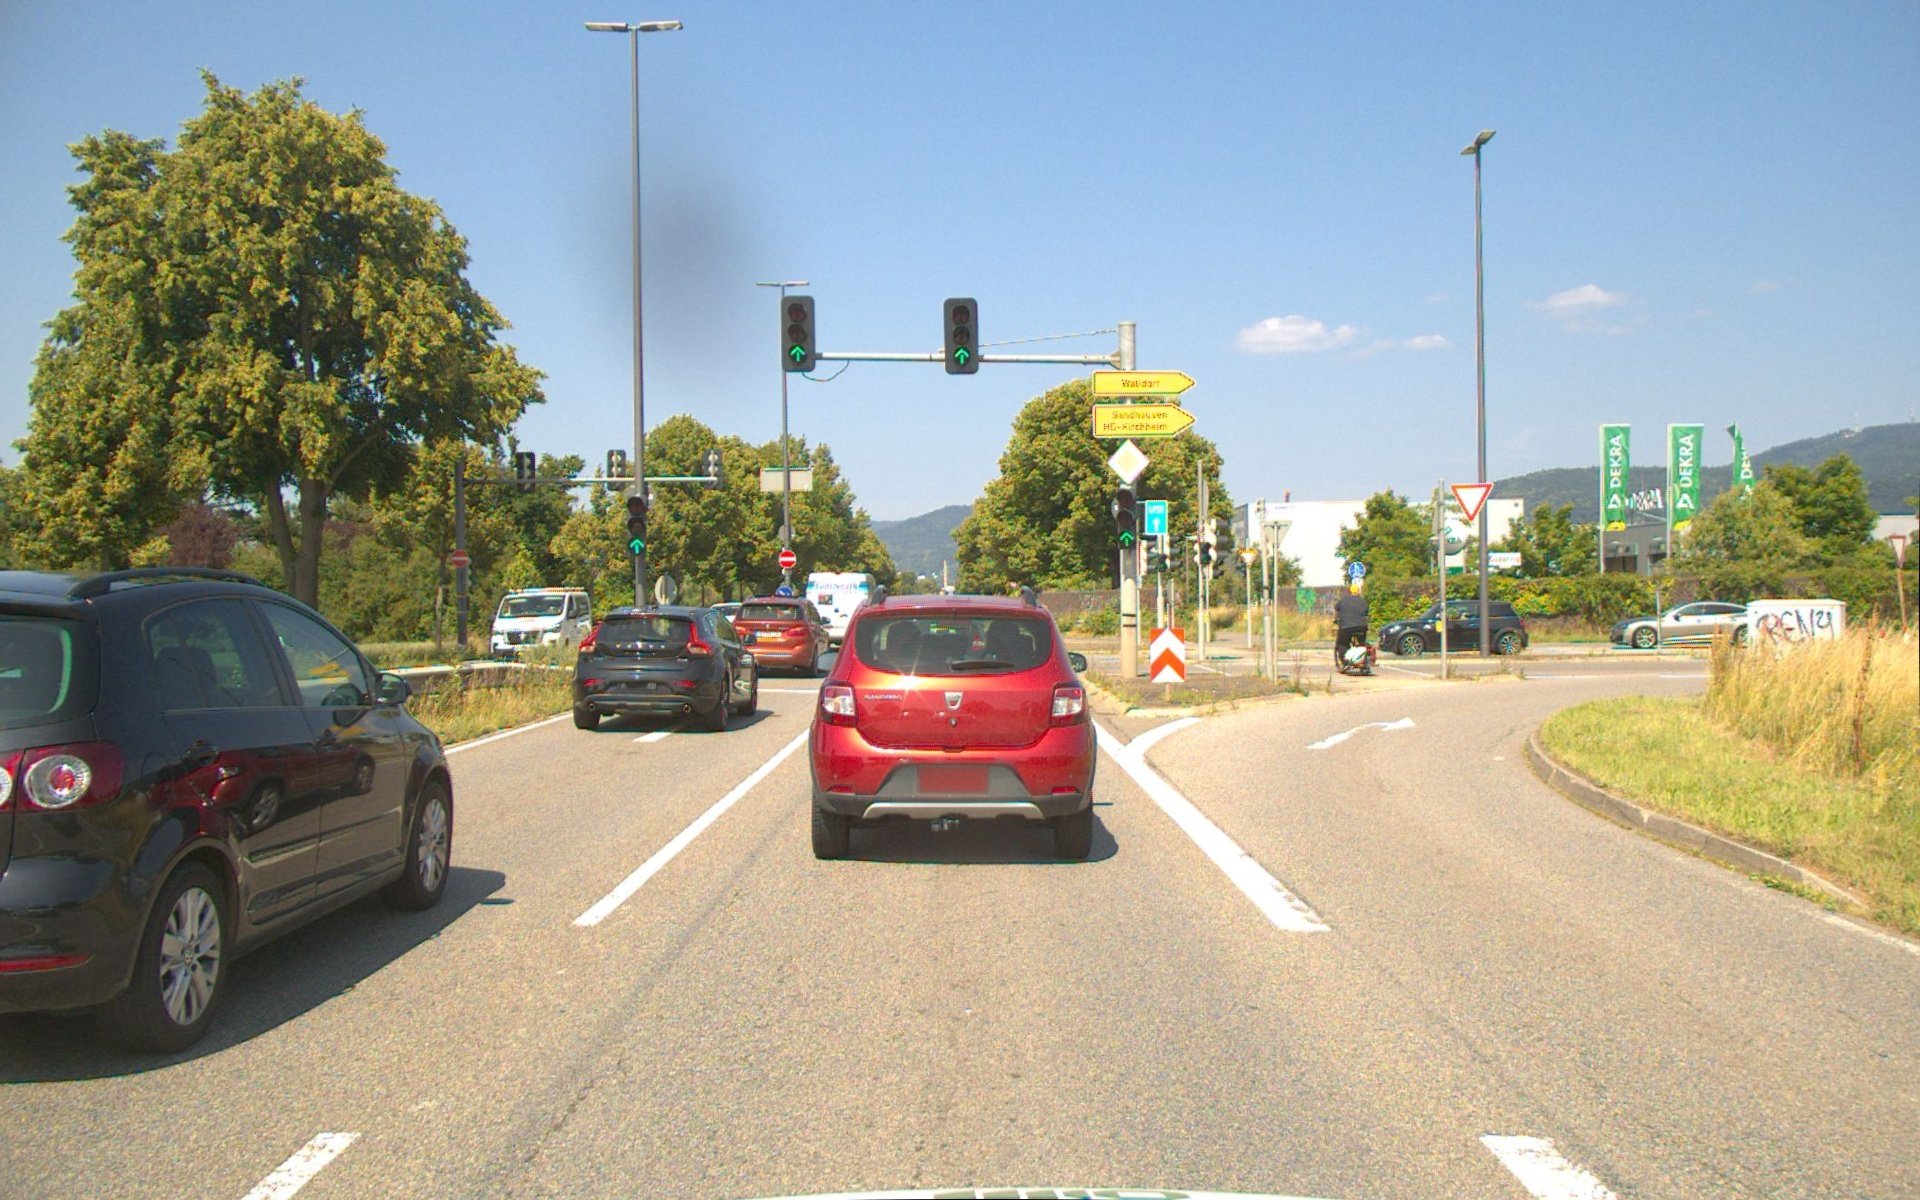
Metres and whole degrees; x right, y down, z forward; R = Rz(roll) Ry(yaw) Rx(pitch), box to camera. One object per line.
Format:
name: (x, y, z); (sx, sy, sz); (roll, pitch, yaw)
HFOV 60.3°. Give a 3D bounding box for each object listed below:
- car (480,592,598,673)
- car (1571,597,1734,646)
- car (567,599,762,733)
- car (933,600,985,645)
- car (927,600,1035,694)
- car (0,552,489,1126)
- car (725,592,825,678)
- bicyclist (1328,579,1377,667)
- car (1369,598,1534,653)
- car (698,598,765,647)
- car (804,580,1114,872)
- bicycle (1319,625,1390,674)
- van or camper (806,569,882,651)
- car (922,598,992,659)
car: (-11.169, 0.818, 44.244); (1.953, 2.015, 5.014); (-1, 0, -2)
car: (20.591, 0.640, 49.352); (4.271, 1.350, 1.807); (-1, 0, 16)
car: (-3.517, 0.733, 20.349); (1.667, 1.467, 3.955); (0, 0, 0)
car: (-0.005, 0.752, 56.567); (1.713, 1.483, 3.677); (0, 0, 1)
car: (0.378, 0.741, 28.021); (1.713, 1.483, 3.677); (0, 0, 1)
car: (-3.288, 0.657, 6.572); (1.688, 1.603, 3.892); (0, 0, 0)
car: (-3.699, 0.661, 33.574); (1.689, 1.628, 3.954); (0, 0, -2)
bicyclist: (8.160, 0.474, 34.369); (0.786, 1.802, 0.808); (-1, 0, -1)
car: (12.696, 0.653, 42.925); (3.901, 1.350, 1.808); (-1, 0, 11)
car: (-8.444, 0.803, 61.334); (1.953, 1.699, 3.999); (-1, 0, -1)
car: (0.035, 0.700, 10.981); (1.713, 1.603, 3.677); (0, 0, 1)
bicycle: (8.183, 1.009, 34.456); (0.746, 0.931, 2.779); (-1, 0, -1)
van or camper: (-3.418, 0.286, 49.453); (2.135, 2.343, 4.824); (0, 0, -3)
car: (-0.036, 0.702, 42.554); (1.713, 1.483, 3.677); (0, 0, 1)
